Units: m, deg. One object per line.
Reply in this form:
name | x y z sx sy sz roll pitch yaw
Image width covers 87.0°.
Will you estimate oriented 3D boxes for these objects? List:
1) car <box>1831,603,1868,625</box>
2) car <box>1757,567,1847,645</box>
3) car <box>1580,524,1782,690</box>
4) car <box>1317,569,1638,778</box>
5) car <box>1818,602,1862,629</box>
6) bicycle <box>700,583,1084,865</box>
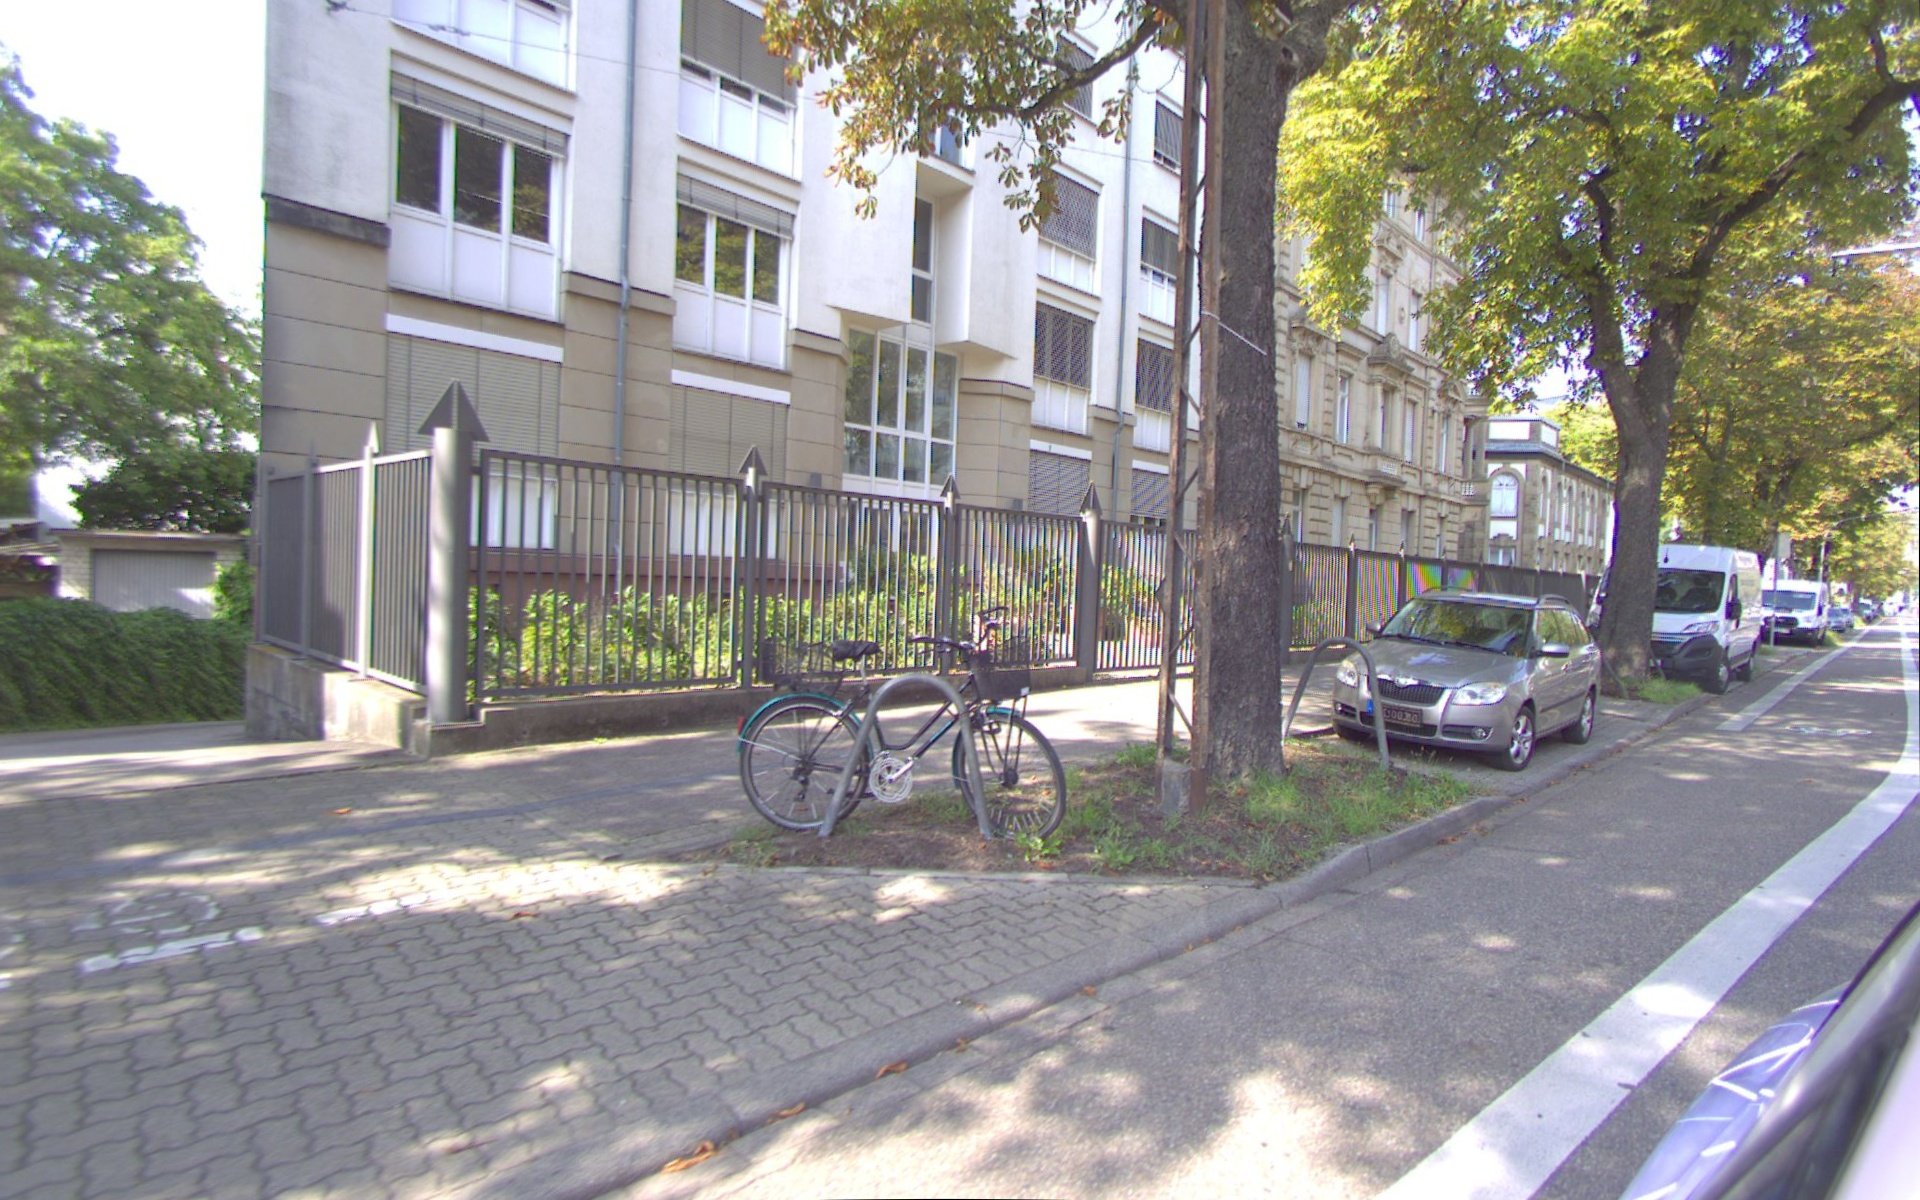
car | 59.760 0.917 67.966 1.753 1.373 3.729 4 2 42
car | 31.546 0.195 37.829 1.995 2.571 5.773 6 4 44
car | 13.330 0.064 18.506 2.047 2.529 6.130 4 3 44
car | 5.343 0.571 10.150 1.608 1.542 4.288 8 5 43
car | 50.625 0.871 58.184 1.753 1.373 3.729 4 2 42
bicycle | -0.336 0.594 5.128 1.810 1.179 0.505 4 7 5
